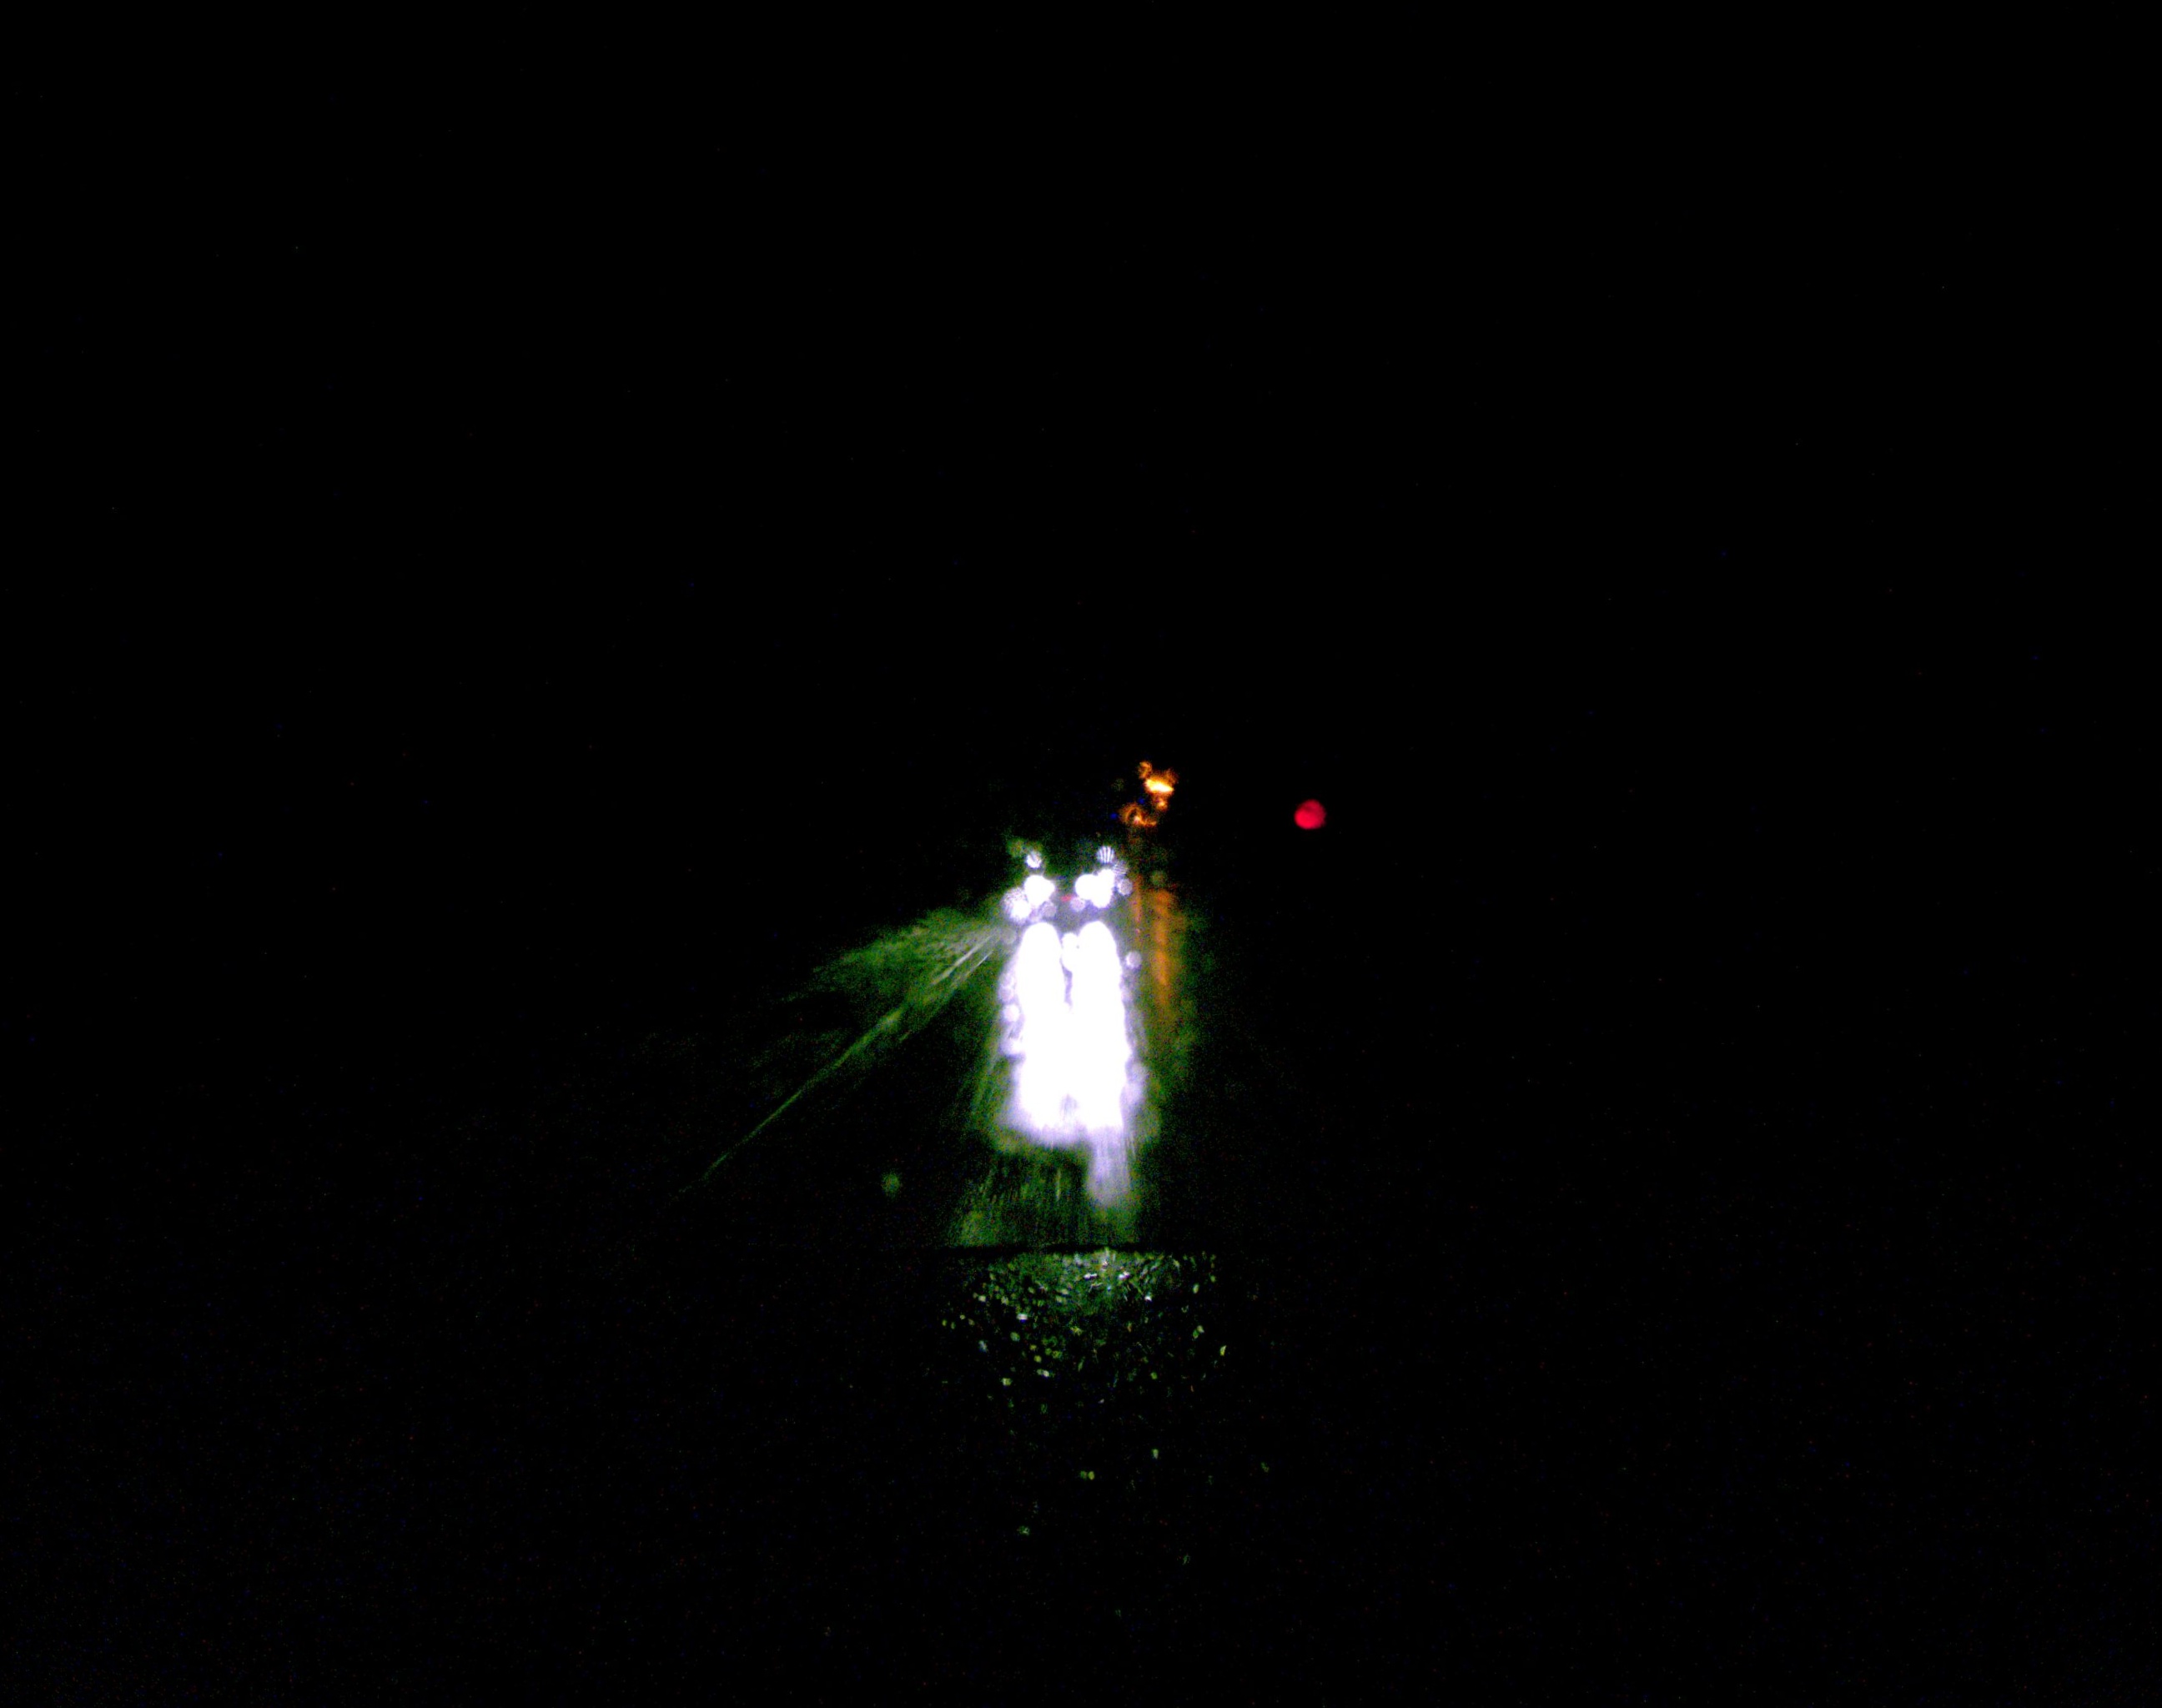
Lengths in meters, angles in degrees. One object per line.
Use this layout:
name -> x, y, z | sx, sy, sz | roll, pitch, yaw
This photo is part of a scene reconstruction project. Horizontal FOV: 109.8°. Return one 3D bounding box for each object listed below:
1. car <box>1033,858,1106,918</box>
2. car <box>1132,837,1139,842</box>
car -> -0.236, 0.952, 23.060 | 1.944, 1.580, 4.776 | -2, -1, 2
car -> 16.391, -4.396, 228.051 | 1.918, 1.467, 4.203 | -1, 2, 6
